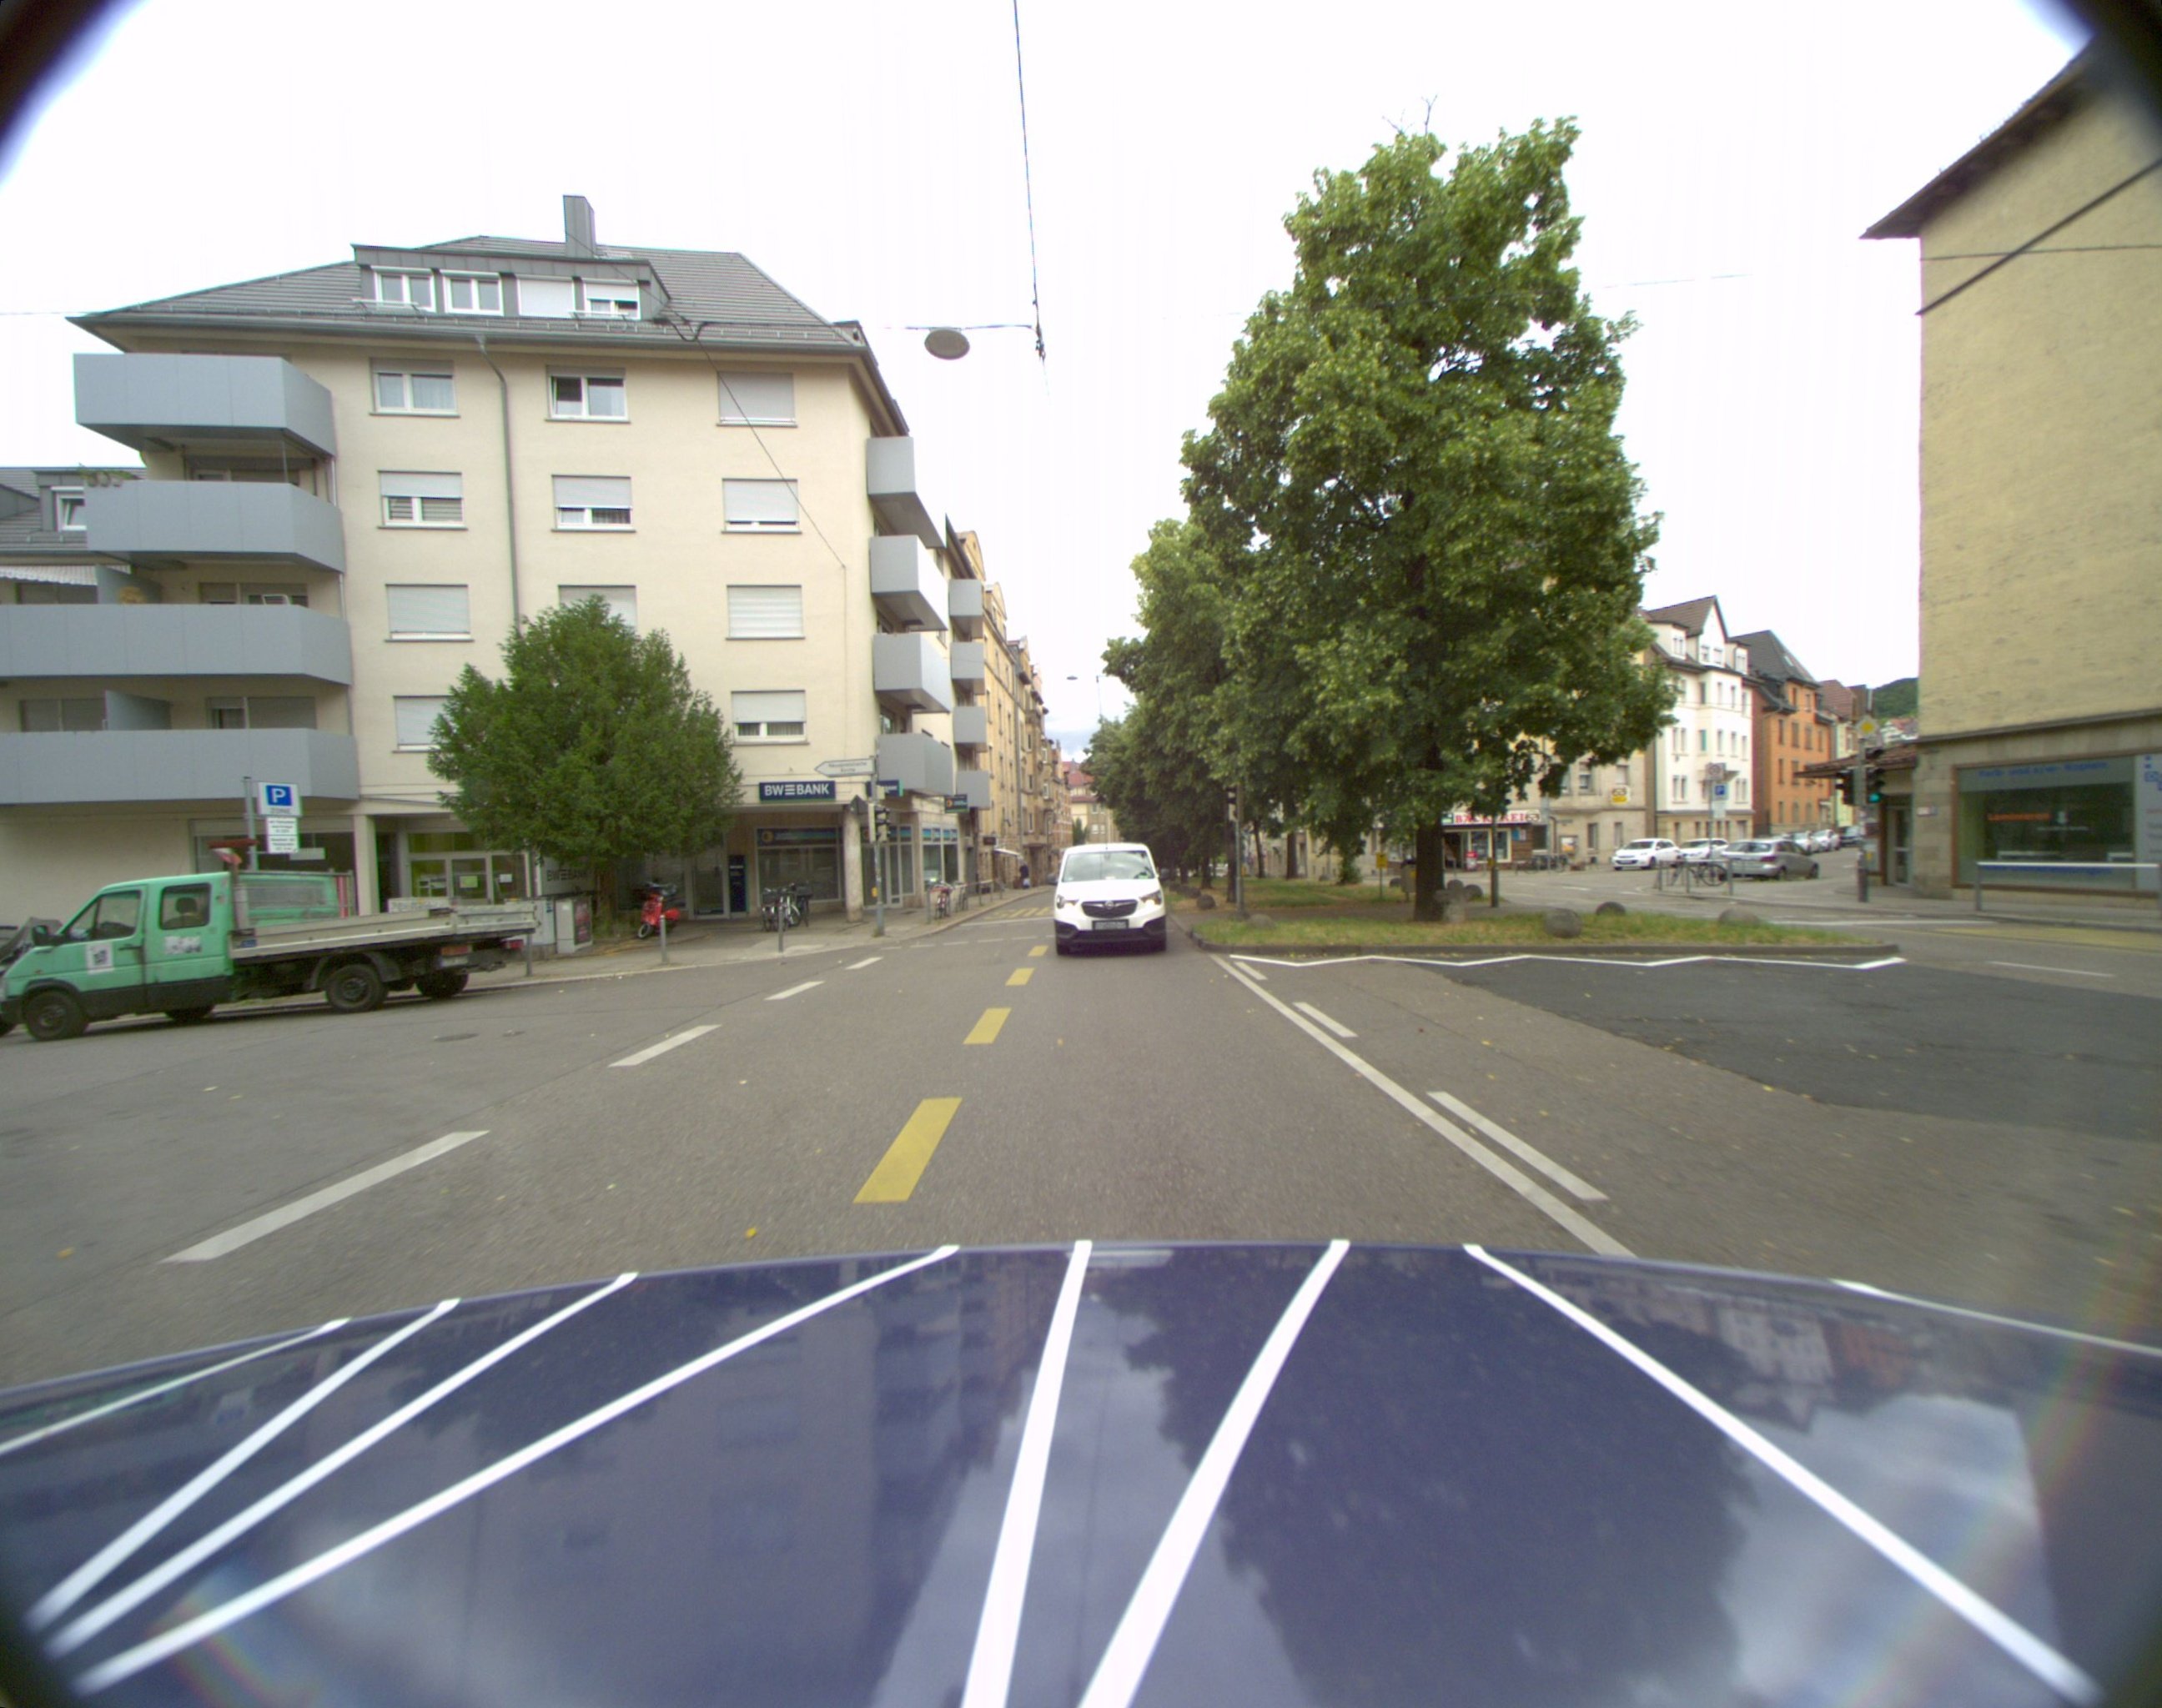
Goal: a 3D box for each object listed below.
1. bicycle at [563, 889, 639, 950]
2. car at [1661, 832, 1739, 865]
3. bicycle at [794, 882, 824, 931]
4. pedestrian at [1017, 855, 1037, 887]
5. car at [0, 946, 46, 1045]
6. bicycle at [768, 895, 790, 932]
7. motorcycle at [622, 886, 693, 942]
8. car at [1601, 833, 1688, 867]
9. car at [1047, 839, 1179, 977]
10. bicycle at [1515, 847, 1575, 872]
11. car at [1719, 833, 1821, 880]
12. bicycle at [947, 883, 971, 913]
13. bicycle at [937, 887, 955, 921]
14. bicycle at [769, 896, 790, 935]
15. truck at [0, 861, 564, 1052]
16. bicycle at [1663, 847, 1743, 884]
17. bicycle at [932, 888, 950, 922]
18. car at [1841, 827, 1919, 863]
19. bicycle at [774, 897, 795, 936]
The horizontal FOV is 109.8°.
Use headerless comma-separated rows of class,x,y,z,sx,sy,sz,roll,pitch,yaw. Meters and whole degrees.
bicycle,-11.272,1.508,17.910,0.439,1.248,1.884,-3,0,3
car,32.501,-0.283,39.894,3.518,1.533,1.860,-3,1,-27
bicycle,-7.295,1.393,20.385,0.400,1.197,1.284,-4,0,-6
pedestrian,-3.513,1.089,49.297,1.083,2.002,1.204,-3,0,2
car,-17.528,2.163,10.552,3.796,1.368,1.563,-3,0,-5
bicycle,-8.056,1.566,20.277,0.184,0.902,1.236,-3,0,-6
motorcycle,-10.200,1.414,18.392,0.591,1.190,1.931,0,0,2
car,28.066,-0.199,37.867,3.812,1.533,1.979,-2,1,-27
car,0.502,0.717,12.534,1.745,1.830,4.343,-2,1,2
bicycle,22.663,0.291,37.166,2.345,1.094,0.775,-3,0,20
car,25.176,0.089,27.757,3.646,1.532,1.686,-2,-1,-30
bicycle,-4.023,1.459,25.188,0.442,0.902,1.285,-3,0,5
bicycle,-3.948,1.444,22.313,0.154,0.902,1.285,-3,0,5
bicycle,-7.722,1.558,19.455,0.141,0.902,1.249,-2,1,-6
truck,-11.740,1.412,11.496,5.859,2.093,2.554,-4,-2,-7
bicycle,20.712,0.400,25.360,0.684,1.142,2.057,-4,-1,-11
bicycle,-4.108,1.478,22.339,0.154,0.902,1.285,-3,0,5
car,36.624,-0.420,34.803,3.519,1.533,1.725,-2,1,-31
bicycle,-7.567,1.584,19.430,0.120,0.902,1.284,-3,0,-6
